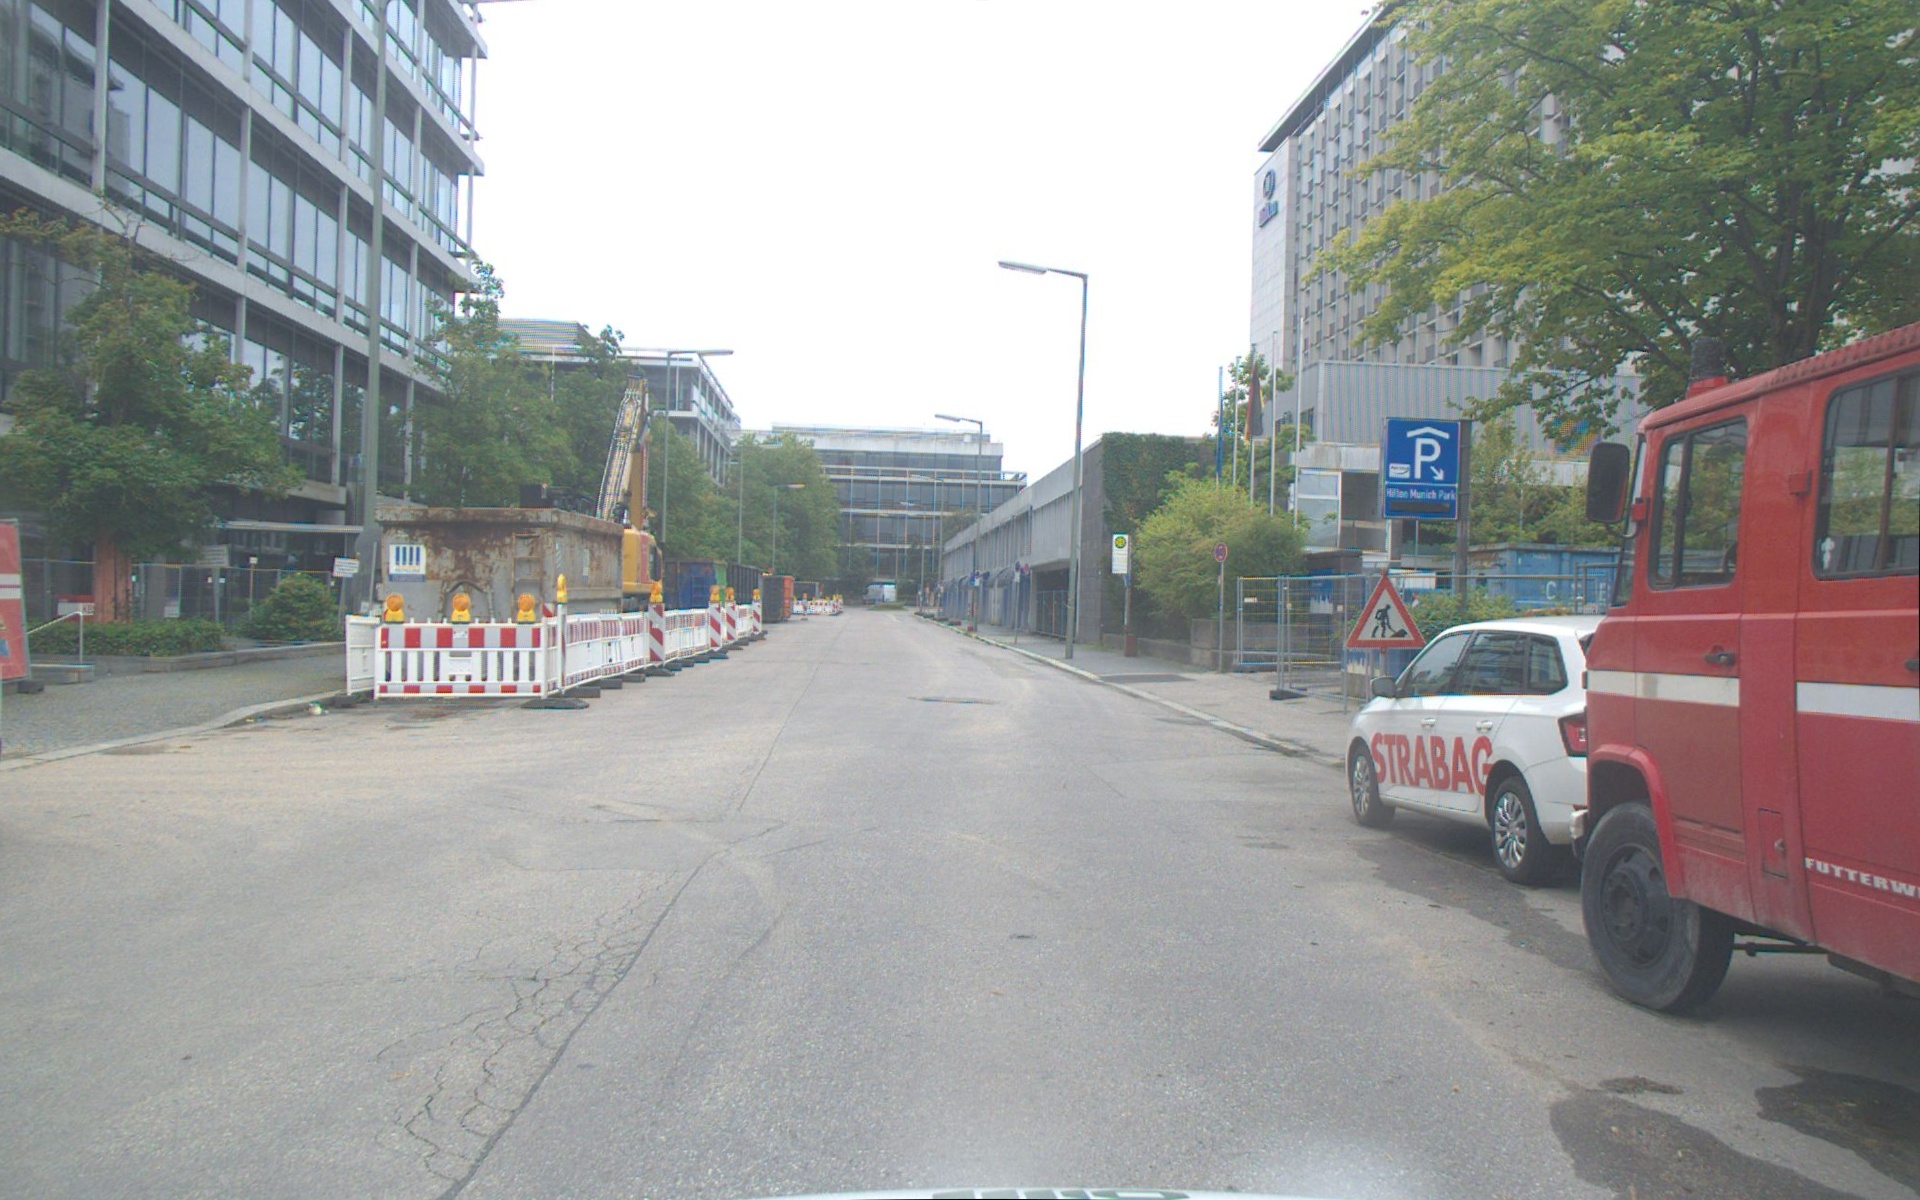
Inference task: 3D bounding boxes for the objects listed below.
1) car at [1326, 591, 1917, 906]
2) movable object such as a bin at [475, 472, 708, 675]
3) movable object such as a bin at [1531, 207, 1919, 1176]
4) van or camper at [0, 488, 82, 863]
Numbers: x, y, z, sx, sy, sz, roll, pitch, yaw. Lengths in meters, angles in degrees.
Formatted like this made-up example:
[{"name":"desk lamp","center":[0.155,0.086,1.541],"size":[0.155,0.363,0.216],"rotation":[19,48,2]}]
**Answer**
[{"name":"car","center":[3.853,0.748,10.541],"size":[1.741,1.577,4.252],"rotation":[1,0,-5]},{"name":"movable object such as a bin","center":[-7.615,-0.558,35.580],"size":[3.175,3.781,9.006],"rotation":[1,1,-2]},{"name":"movable object such as a bin","center":[3.510,0.244,4.170],"size":[2.061,2.501,6.187],"rotation":[1,0,1]},{"name":"van or camper","center":[-6.280,0.430,7.156],"size":[1.952,2.049,5.378],"rotation":[1,1,2]}]
